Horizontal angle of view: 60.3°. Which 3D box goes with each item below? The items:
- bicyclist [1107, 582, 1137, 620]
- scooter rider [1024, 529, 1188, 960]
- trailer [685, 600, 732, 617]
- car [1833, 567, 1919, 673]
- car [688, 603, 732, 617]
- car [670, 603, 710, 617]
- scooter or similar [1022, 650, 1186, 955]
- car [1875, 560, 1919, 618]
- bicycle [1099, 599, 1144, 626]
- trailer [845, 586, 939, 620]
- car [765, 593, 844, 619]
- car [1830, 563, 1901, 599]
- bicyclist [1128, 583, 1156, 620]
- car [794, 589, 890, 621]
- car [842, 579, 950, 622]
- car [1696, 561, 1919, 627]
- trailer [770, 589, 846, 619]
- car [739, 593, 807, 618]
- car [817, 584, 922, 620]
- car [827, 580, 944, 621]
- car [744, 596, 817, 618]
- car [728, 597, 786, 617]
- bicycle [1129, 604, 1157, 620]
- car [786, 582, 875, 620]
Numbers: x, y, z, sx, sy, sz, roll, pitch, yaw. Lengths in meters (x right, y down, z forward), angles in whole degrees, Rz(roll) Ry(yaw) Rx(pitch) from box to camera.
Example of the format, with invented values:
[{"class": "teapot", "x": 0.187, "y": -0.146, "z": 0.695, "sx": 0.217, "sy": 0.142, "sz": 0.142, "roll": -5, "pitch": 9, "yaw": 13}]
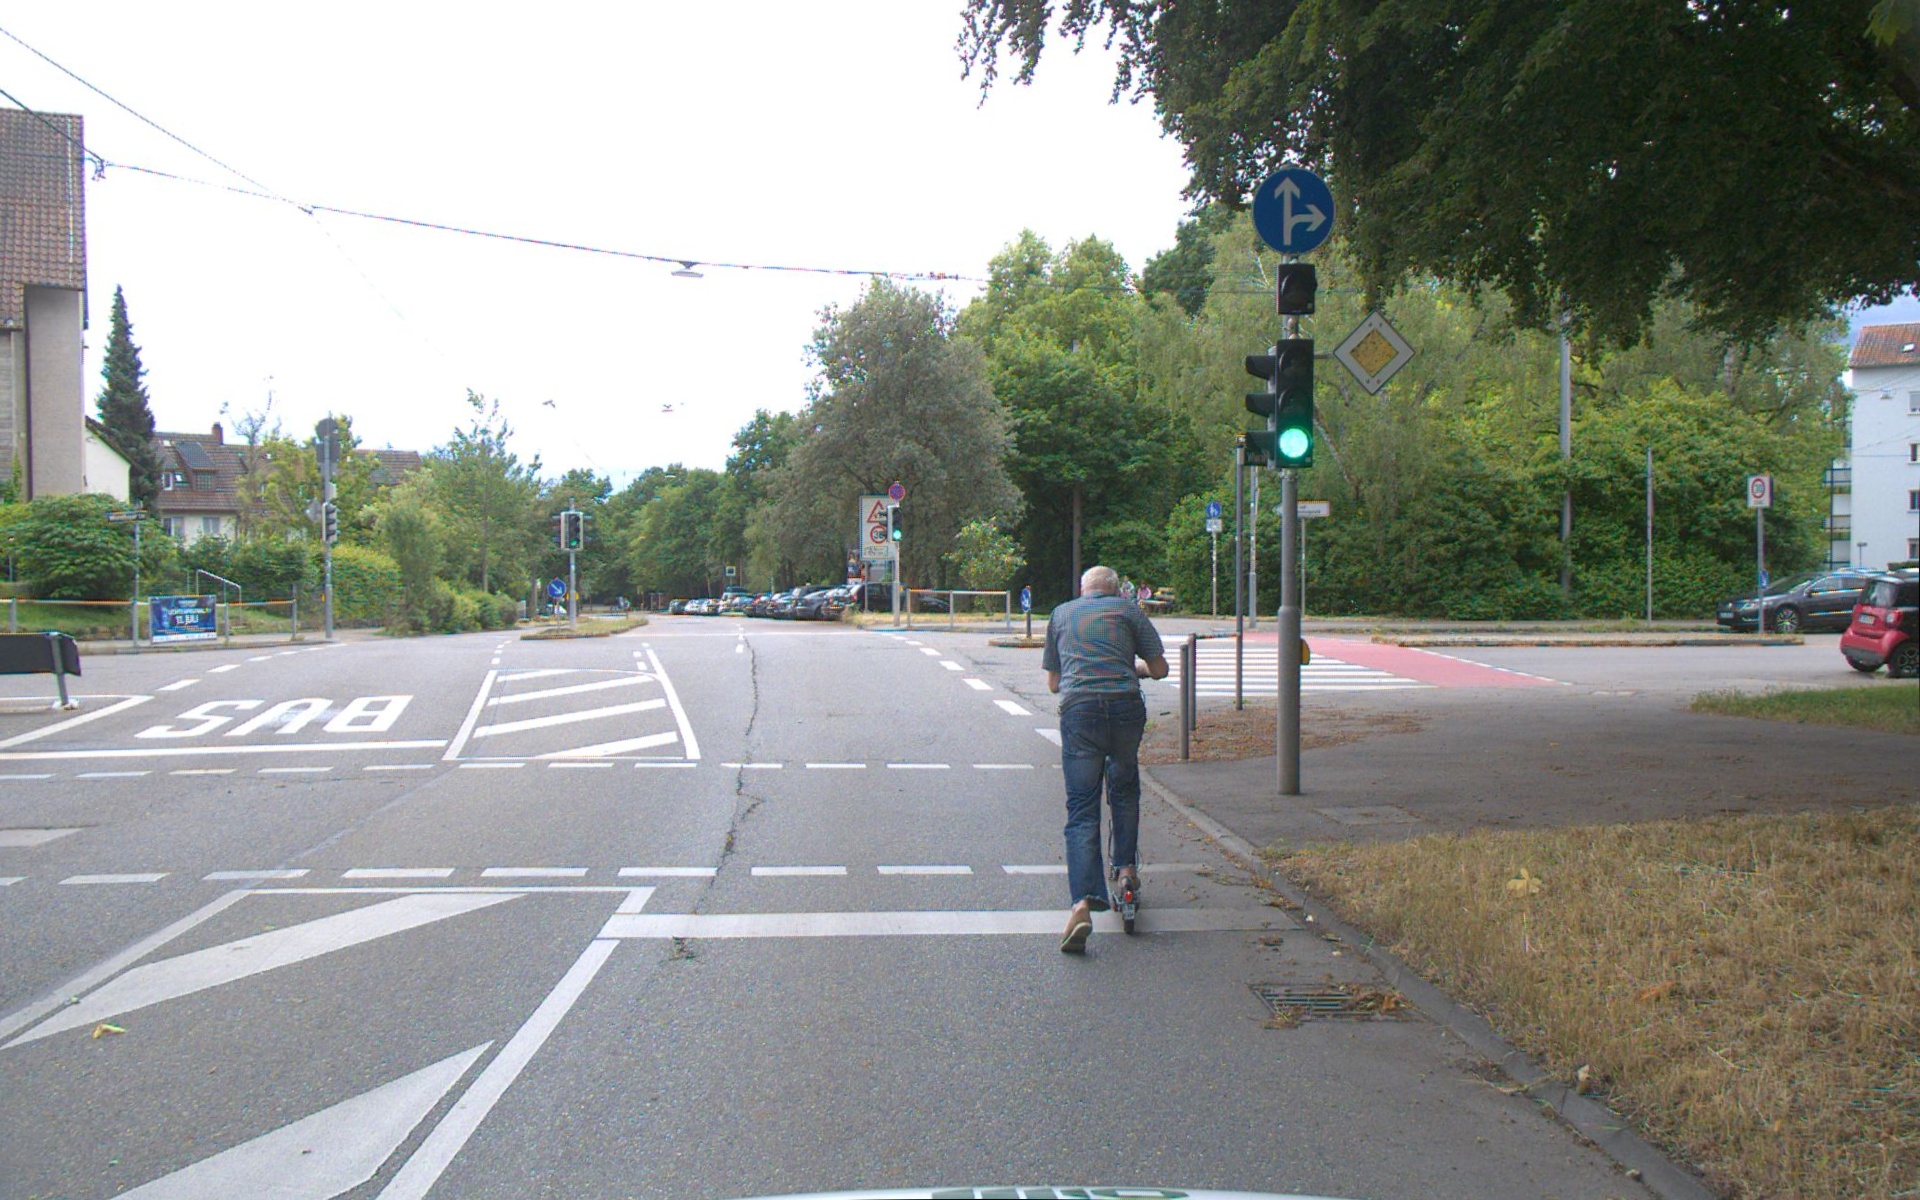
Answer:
[{"class": "bicyclist", "x": 5.292, "y": 0.028, "z": 53.999, "sx": 0.630, "sy": 1.181, "sz": 0.799, "roll": 3, "pitch": 5, "yaw": 42}, {"class": "scooter rider", "x": 0.659, "y": 0.572, "z": 7.372, "sx": 0.667, "sy": 1.760, "sz": 1.197, "roll": 0, "pitch": 1, "yaw": 6}, {"class": "trailer", "x": -23.590, "y": 0.807, "z": 155.293, "sx": 4.113, "sy": 1.601, "sz": 1.694, "roll": 0, "pitch": -1, "yaw": -31}, {"class": "car", "x": 15.106, "y": 0.286, "z": 25.078, "sx": 2.850, "sy": 1.532, "sz": 1.697, "roll": 0, "pitch": 2, "yaw": 3}, {"class": "car", "x": -23.882, "y": 0.943, "z": 157.971, "sx": 3.854, "sy": 1.332, "sz": 1.721, "roll": 0, "pitch": -1, "yaw": -36}, {"class": "car", "x": -28.635, "y": 1.036, "z": 175.668, "sx": 3.846, "sy": 1.454, "sz": 1.725, "roll": 0, "pitch": -1, "yaw": -32}, {"class": "scooter or similar", "x": 0.665, "y": 0.850, "z": 7.503, "sx": 0.667, "sy": 1.159, "sz": 1.461, "roll": 0, "pitch": 2, "yaw": 6}, {"class": "car", "x": 26.376, "y": -0.309, "z": 44.922, "sx": 1.763, "sy": 1.513, "sz": 3.673, "roll": 0, "pitch": 0, "yaw": 14}, {"class": "bicycle", "x": 5.280, "y": 0.407, "z": 54.011, "sx": 0.630, "sy": 0.771, "sz": 1.671, "roll": 3, "pitch": 5, "yaw": 42}, {"class": "trailer", "x": -2.661, "y": 0.126, "z": 64.693, "sx": 3.353, "sy": 1.289, "sz": 1.606, "roll": 0, "pitch": -1, "yaw": -22}, {"class": "car", "x": -8.308, "y": 0.320, "z": 88.291, "sx": 3.979, "sy": 1.351, "sz": 1.549, "roll": 0, "pitch": -1, "yaw": -21}, {"class": "car", "x": 40.676, "y": -0.850, "z": 74.367, "sx": 1.888, "sy": 1.572, "sz": 4.067, "roll": 0, "pitch": 0, "yaw": 15}, {"class": "bicyclist", "x": 6.098, "y": 0.048, "z": 55.343, "sx": 0.509, "sy": 1.208, "sz": 0.963, "roll": -2, "pitch": -2, "yaw": 37}, {"class": "car", "x": -5.437, "y": 0.225, "z": 76.082, "sx": 4.103, "sy": 1.431, "sz": 1.686, "roll": 0, "pitch": -1, "yaw": -23}, {"class": "car", "x": -2.298, "y": 0.013, "z": 59.210, "sx": 3.653, "sy": 1.502, "sz": 1.570, "roll": 0, "pitch": 0, "yaw": -14}, {"class": "car", "x": 19.996, "y": -0.164, "z": 38.713, "sx": 4.694, "sy": 1.464, "sz": 2.036, "roll": 0, "pitch": 1, "yaw": -7}, {"class": "trailer", "x": -7.927, "y": 0.208, "z": 86.036, "sx": 3.639, "sy": 1.562, "sz": 1.634, "roll": 0, "pitch": 0, "yaw": -23}, {"class": "car", "x": -12.016, "y": 0.354, "z": 106.451, "sx": 4.036, "sy": 1.542, "sz": 1.713, "roll": -1, "pitch": 0, "yaw": -34}, {"class": "car", "x": -3.805, "y": 0.069, "z": 69.439, "sx": 4.158, "sy": 1.490, "sz": 1.625, "roll": 0, "pitch": 0, "yaw": -21}, {"class": "car", "x": -2.776, "y": 0.013, "z": 61.590, "sx": 4.078, "sy": 1.502, "sz": 1.565, "roll": 0, "pitch": -1, "yaw": -23}, {"class": "car", "x": -11.277, "y": 0.448, "z": 103.708, "sx": 4.259, "sy": 1.364, "sz": 1.719, "roll": 0, "pitch": -1, "yaw": -26}, {"class": "car", "x": -14.899, "y": 0.532, "z": 121.337, "sx": 3.917, "sy": 1.430, "sz": 1.741, "roll": 1, "pitch": -1, "yaw": -27}, {"class": "bicycle", "x": 6.114, "y": 0.399, "z": 55.325, "sx": 0.509, "sy": 0.506, "sz": 0.984, "roll": -2, "pitch": -2, "yaw": 37}, {"class": "car", "x": -6.164, "y": 0.041, "z": 78.671, "sx": 3.929, "sy": 1.755, "sz": 1.670, "roll": 0, "pitch": -1, "yaw": -21}]
